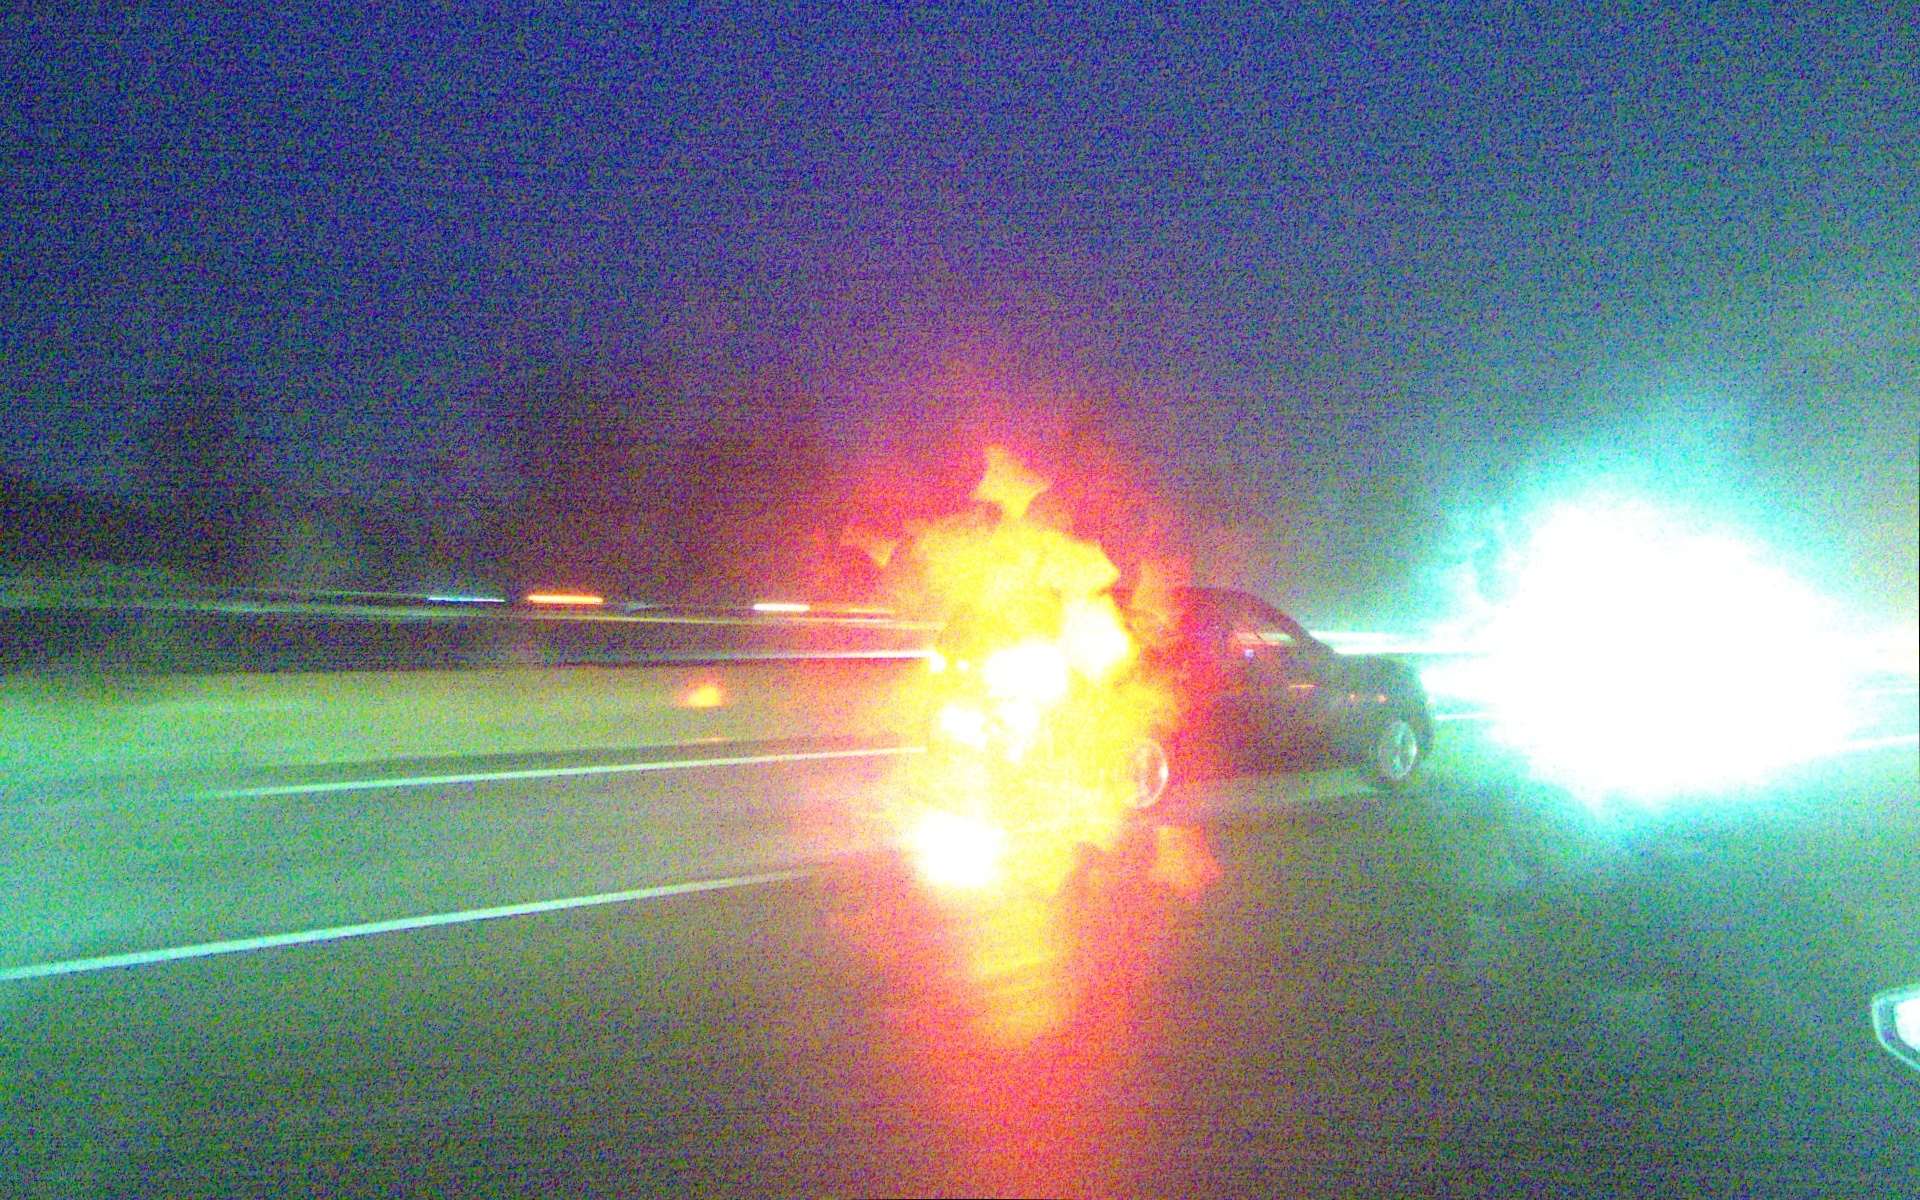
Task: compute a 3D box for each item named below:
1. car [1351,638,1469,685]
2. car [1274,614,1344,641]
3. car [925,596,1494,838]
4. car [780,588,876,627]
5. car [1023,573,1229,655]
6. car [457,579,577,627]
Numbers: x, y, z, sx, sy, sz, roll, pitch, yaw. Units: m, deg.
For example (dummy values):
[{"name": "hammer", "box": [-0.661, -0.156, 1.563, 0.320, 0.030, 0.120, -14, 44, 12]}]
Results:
[{"name": "car", "box": [16.571, 2.305, 36.987, 4.242, 1.545, 1.832, 4, -6, -30]}, {"name": "car", "box": [23.043, 1.817, 66.289, 4.116, 1.699, 1.989, 1, -1, -24]}, {"name": "car", "box": [2.205, 0.807, 8.463, 4.694, 1.561, 1.850, 1, -1, -30]}, {"name": "car", "box": [-6.899, 0.404, 52.400, 4.618, 1.959, 1.989, 1, 0, -22]}, {"name": "car", "box": [3.632, 0.382, 21.773, 4.242, 1.546, 1.831, 3, -4, -30]}, {"name": "car", "box": [-19.086, 0.141, 43.486, 4.618, 1.959, 1.989, 1, 0, -23]}]
